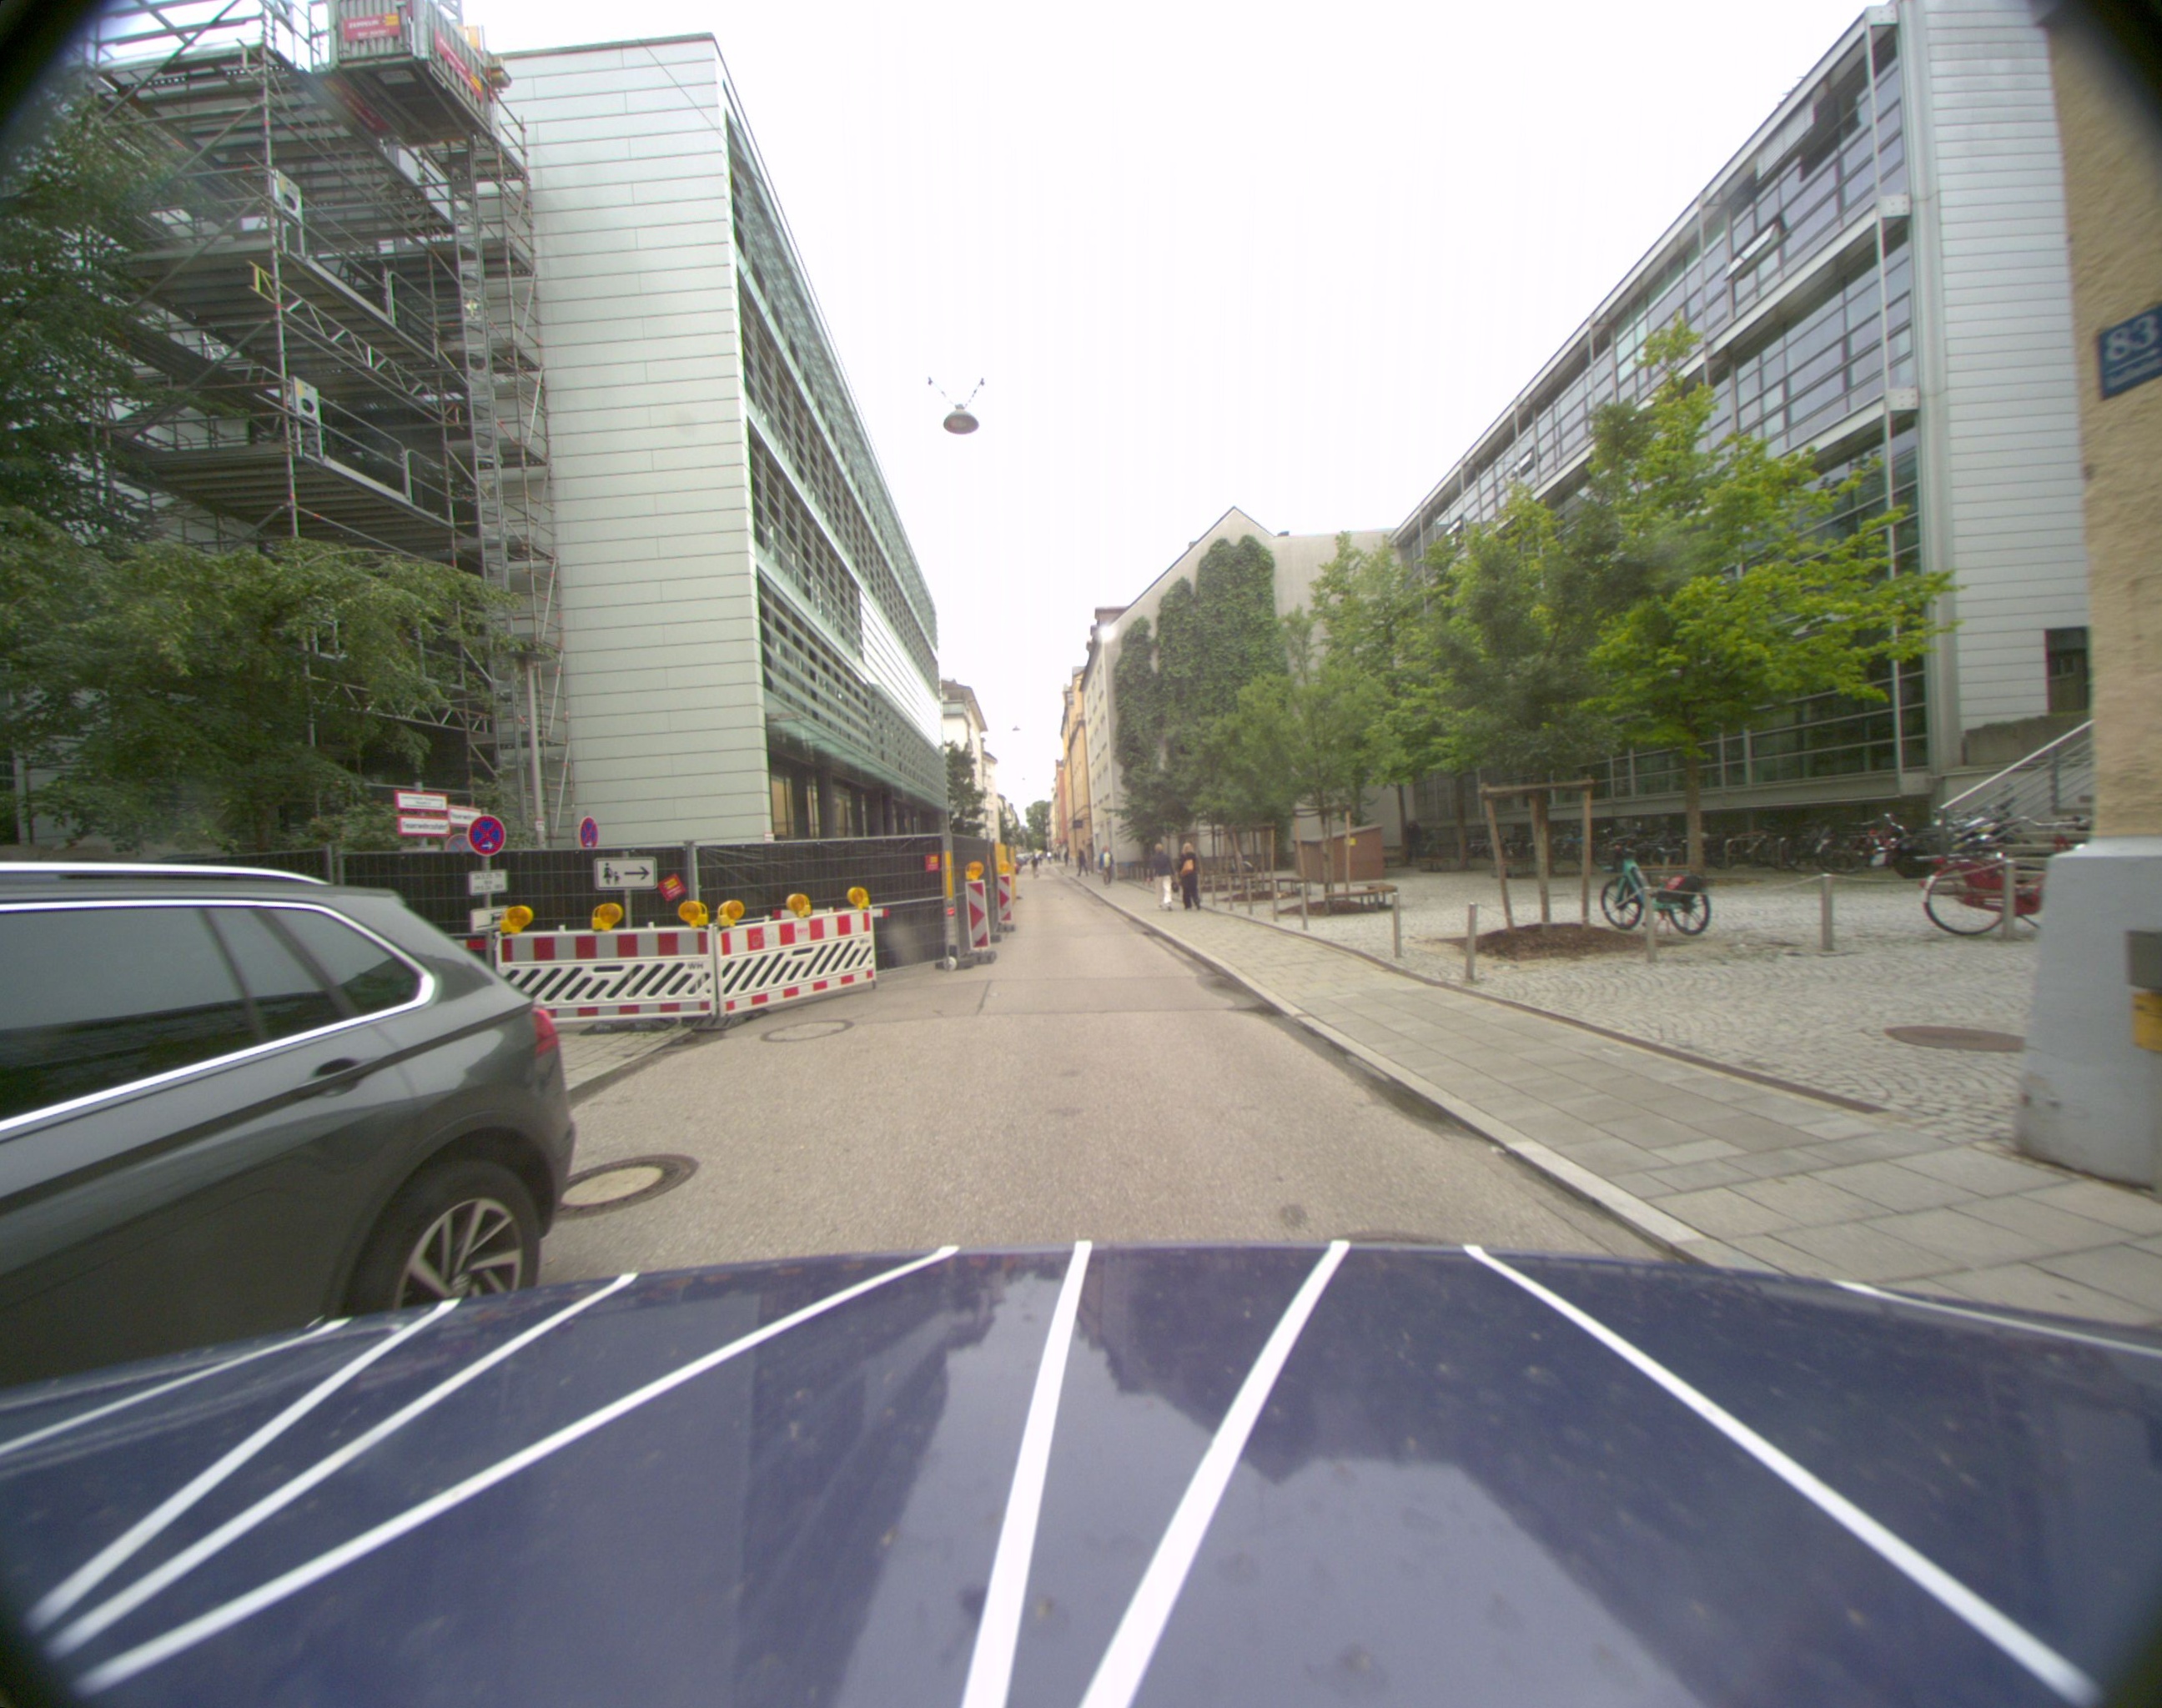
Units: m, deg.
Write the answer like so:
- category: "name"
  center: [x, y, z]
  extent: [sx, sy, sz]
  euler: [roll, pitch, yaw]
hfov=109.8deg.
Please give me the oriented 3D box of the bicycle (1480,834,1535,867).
- category: "bicycle"
  center: [15.240, -0.131, 27.151]
  extent: [1.575, 1.054, 0.629]
  euler: [-3, 1, 0]

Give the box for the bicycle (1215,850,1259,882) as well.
- category: "bicycle"
  center: [6.224, 0.474, 30.424]
  extent: [0.714, 1.202, 1.995]
  euler: [-5, 1, -21]

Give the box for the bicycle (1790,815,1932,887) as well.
- category: "bicycle"
  center: [14.788, -0.059, 14.435]
  extent: [1.901, 1.197, 0.698]
  euler: [-4, 1, 1]

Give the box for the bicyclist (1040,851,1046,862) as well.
- category: "bicyclist"
  center: [-5.095, 0.333, 102.429]
  extent: [0.700, 1.399, 0.768]
  euler: [-3, 1, -4]

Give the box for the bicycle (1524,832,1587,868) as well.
- category: "bicycle"
  center: [15.197, -0.117, 24.337]
  extent: [1.575, 1.054, 0.629]
  euler: [-3, 1, 0]

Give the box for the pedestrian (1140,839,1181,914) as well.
- category: "pedestrian"
  center: [2.017, 0.559, 19.347]
  extent: [0.778, 1.826, 0.991]
  euler: [-3, 1, -3]

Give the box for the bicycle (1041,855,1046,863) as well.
- category: "bicycle"
  center: [-5.067, 0.664, 102.476]
  extent: [0.700, 0.977, 1.948]
  euler: [-3, 1, -4]

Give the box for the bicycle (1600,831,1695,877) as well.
- category: "bicycle"
  center: [14.820, -0.002, 19.918]
  extent: [1.901, 1.052, 0.705]
  euler: [-4, 1, 1]

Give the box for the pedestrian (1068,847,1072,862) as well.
- category: "pedestrian"
  center: [-1.272, 0.053, 86.644]
  extent: [0.386, 1.666, 0.448]
  euler: [-2, 1, -6]

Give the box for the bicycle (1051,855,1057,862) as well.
- category: "bicycle"
  center: [-3.695, 0.578, 103.791]
  extent: [0.700, 0.926, 1.693]
  euler: [-3, 1, -4]

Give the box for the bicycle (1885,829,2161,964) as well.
- category: "bicycle"
  center: [9.525, 0.401, 7.655]
  extent: [1.979, 1.166, 0.747]
  euler: [-4, 1, 1]

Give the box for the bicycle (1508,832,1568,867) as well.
- category: "bicycle"
  center: [15.334, -0.159, 25.530]
  extent: [1.575, 1.054, 0.629]
  euler: [-3, 1, 0]

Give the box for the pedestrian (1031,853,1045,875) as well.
- category: "pedestrian"
  center: [-3.076, 0.705, 54.346]
  extent: [0.712, 1.542, 0.775]
  euler: [-4, 1, -25]

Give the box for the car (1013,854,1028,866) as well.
- category: "car"
  center: [-7.080, 0.683, 88.906]
  extent: [1.625, 1.259, 4.327]
  euler: [-3, 1, -3]

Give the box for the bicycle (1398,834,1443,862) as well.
- category: "bicycle"
  center: [15.385, -0.269, 34.464]
  extent: [1.725, 1.135, 0.602]
  euler: [-3, 1, 3]

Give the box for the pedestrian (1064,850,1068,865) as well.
- category: "pedestrian"
  center: [-1.746, 0.393, 86.436]
  extent: [0.352, 1.632, 0.402]
  euler: [-3, 1, -3]

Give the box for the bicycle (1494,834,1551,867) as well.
- category: "bicycle"
  center: [15.331, -0.124, 26.403]
  extent: [1.575, 1.054, 0.629]
  euler: [-3, 1, 0]

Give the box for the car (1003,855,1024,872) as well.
- category: "car"
  center: [-6.392, 0.863, 71.963]
  extent: [1.810, 1.390, 3.998]
  euler: [-3, 1, -3]

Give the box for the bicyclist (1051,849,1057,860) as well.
- category: "bicyclist"
  center: [-3.726, 0.095, 103.769]
  extent: [0.718, 1.399, 0.965]
  euler: [-3, 1, -4]

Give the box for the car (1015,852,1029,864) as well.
- category: "car"
  center: [-8.653, 0.560, 111.425]
  extent: [1.794, 1.550, 3.998]
  euler: [-3, 1, -3]

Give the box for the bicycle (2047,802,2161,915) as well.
- category: "bicycle"
  center: [13.841, -0.041, 9.278]
  extent: [3.233, 1.244, 0.766]
  euler: [-4, 1, -3]

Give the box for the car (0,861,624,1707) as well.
- category: "car"
  center: [-2.702, 0.951, 0.747]
  extent: [1.829, 1.700, 4.388]
  euler: [-4, 0, -2]

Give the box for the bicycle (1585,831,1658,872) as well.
- category: "bicycle"
  center: [15.108, -0.073, 21.258]
  extent: [1.575, 1.054, 0.629]
  euler: [-3, 1, 0]

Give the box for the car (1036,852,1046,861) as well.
- category: "car"
  center: [-8.366, 0.511, 160.300]
  extent: [1.999, 1.583, 4.373]
  euler: [-3, 1, -3]

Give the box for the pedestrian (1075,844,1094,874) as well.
- category: "pedestrian"
  center: [0.221, 0.321, 48.590]
  extent: [0.746, 1.892, 0.877]
  euler: [-4, 1, -24]

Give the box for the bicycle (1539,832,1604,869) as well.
- category: "bicycle"
  center: [15.226, -0.112, 23.602]
  extent: [1.575, 1.054, 0.629]
  euler: [-3, 1, 0]

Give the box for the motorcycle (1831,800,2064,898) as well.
- category: "motorcycle"
  center: [14.247, -0.078, 12.566]
  extent: [2.671, 1.403, 0.970]
  euler: [-3, 1, 1]

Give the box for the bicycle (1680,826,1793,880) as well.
- category: "bicycle"
  center: [14.864, -0.018, 17.257]
  extent: [1.901, 1.069, 0.708]
  euler: [-4, 1, 1]

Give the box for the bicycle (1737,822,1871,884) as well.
- category: "bicycle"
  center: [14.837, -0.026, 15.629]
  extent: [1.901, 1.119, 0.826]
  euler: [-4, 1, 1]

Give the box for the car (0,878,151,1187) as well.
- category: "car"
  center: [-8.324, 1.111, 3.922]
  extent: [4.474, 1.710, 1.840]
  euler: [-3, 0, -3]

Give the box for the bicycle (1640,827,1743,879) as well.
- category: "bicycle"
  center: [14.850, -0.025, 18.513]
  extent: [1.901, 1.099, 0.666]
  euler: [-4, 1, 1]

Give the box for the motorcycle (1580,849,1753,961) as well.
- category: "motorcycle"
  center: [7.000, 0.546, 9.228]
  extent: [0.577, 1.166, 1.981]
  euler: [-4, 1, 2]

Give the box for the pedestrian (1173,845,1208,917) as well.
- category: "pedestrian"
  center: [2.637, 0.632, 18.351]
  extent: [0.554, 1.650, 0.997]
  euler: [-3, 1, -3]

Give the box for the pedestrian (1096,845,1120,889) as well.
- category: "pedestrian"
  center: [1.190, 0.545, 33.156]
  extent: [0.861, 1.834, 0.973]
  euler: [-4, 1, -2]

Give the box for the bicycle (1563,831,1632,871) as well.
- category: "bicycle"
  center: [15.191, -0.095, 22.374]
  extent: [1.575, 1.054, 0.629]
  euler: [-3, 1, 0]
